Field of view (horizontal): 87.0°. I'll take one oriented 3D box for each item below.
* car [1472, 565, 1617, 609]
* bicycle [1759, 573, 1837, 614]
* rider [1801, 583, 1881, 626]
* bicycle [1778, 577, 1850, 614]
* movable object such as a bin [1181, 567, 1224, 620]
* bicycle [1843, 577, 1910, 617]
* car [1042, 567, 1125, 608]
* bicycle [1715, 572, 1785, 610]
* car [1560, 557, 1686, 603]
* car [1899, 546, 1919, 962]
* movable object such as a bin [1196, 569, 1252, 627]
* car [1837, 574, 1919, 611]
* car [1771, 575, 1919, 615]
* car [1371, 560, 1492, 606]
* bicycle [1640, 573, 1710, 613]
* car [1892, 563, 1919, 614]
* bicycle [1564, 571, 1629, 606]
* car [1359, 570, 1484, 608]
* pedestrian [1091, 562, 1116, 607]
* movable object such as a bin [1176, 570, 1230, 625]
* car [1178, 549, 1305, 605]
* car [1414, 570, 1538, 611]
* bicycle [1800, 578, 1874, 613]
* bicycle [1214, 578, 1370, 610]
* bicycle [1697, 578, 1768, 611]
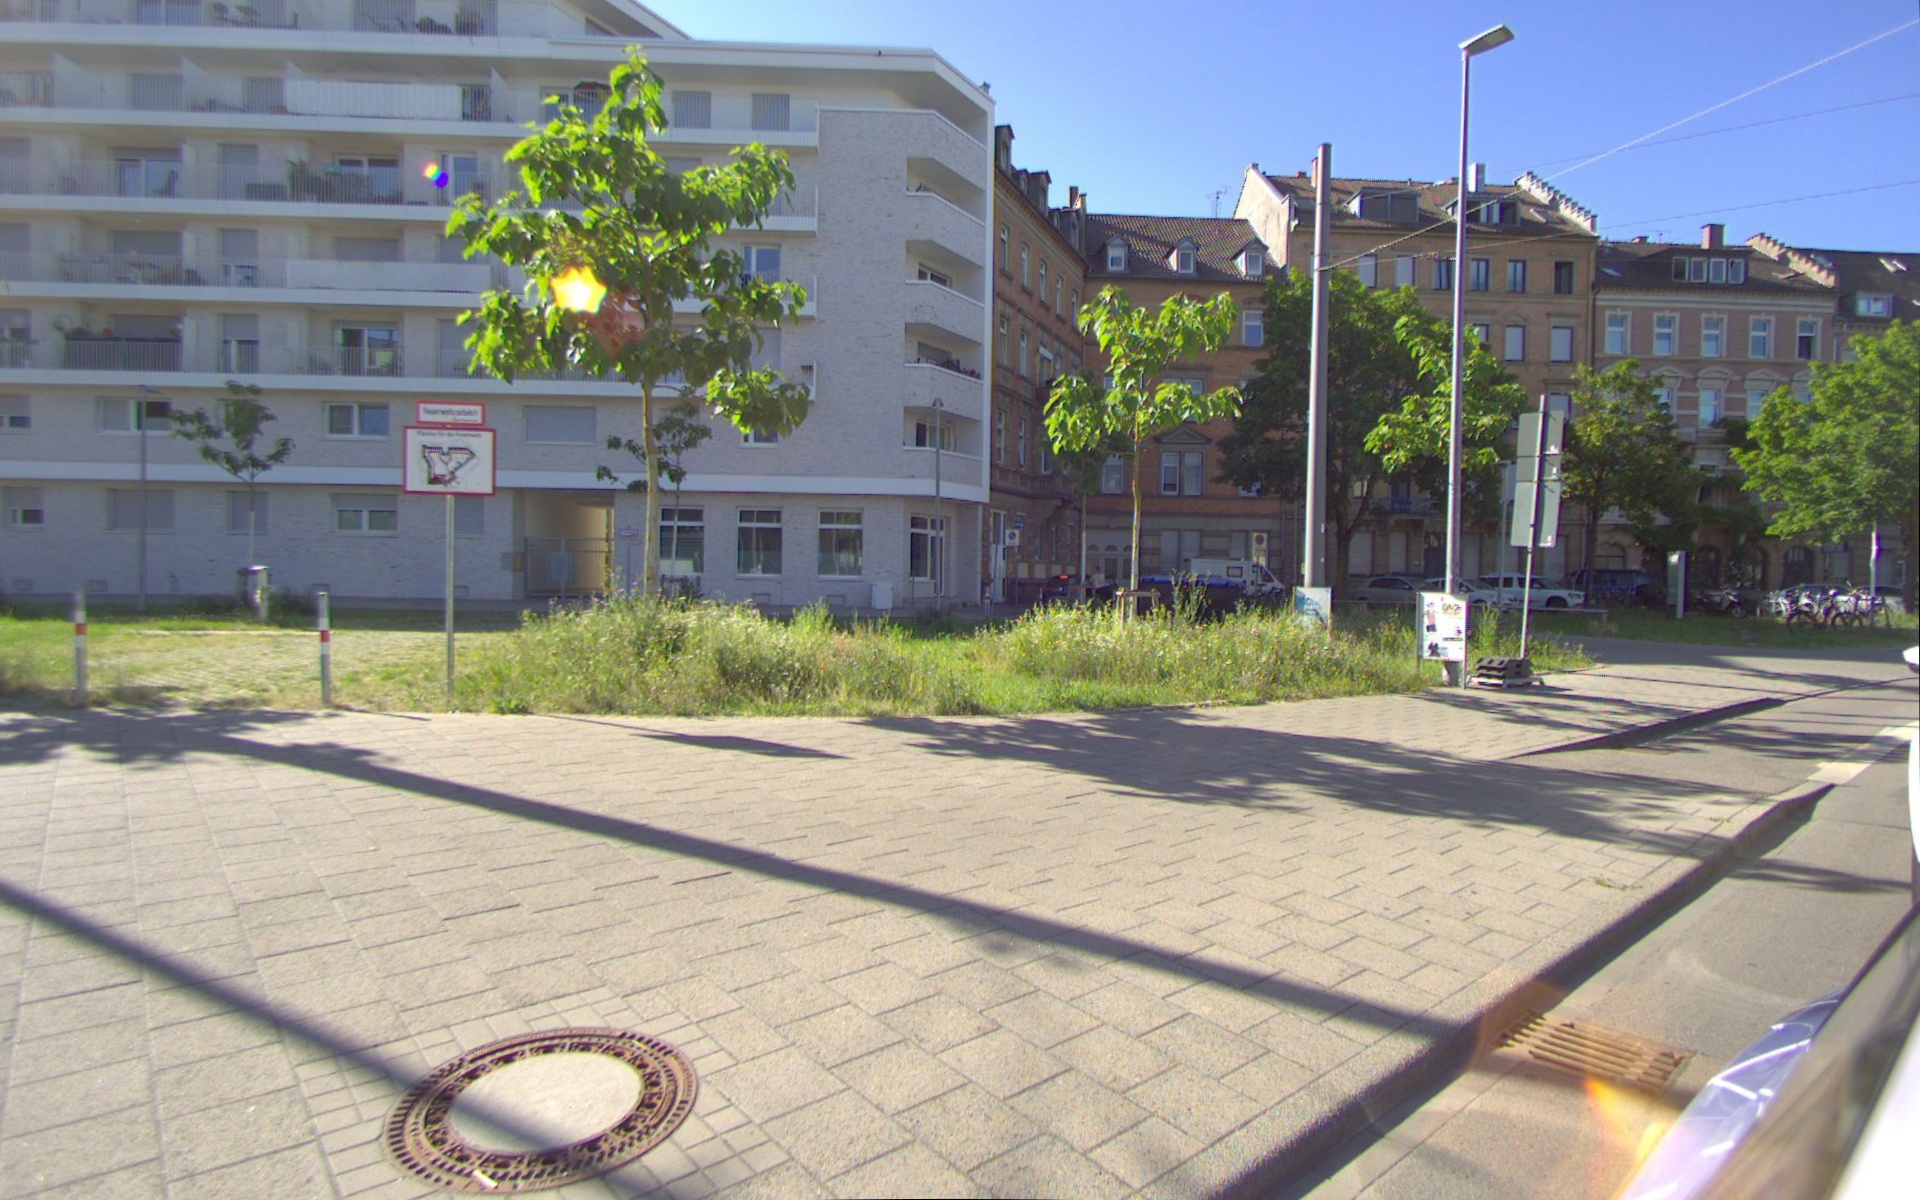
[{"bbox_3d":[22.430,-0.528,39.000,1.900,1.585,4.473,0,2,-33],"label":"car"},{"bbox_3d":[29.227,-0.244,35.343,0.771,1.382,2.103,0,1,-8],"label":"bicycle"},{"bbox_3d":[25.053,0.128,28.808,1.652,1.191,0.501,0,1,15],"label":"rider"},{"bbox_3d":[31.032,-0.178,36.800,0.825,1.206,1.966,1,3,-3],"label":"bicycle"},{"bbox_3d":[6.770,-0.190,28.275,1.076,1.416,1.026,1,1,18],"label":"movable object such as a bin"},{"bbox_3d":[31.514,-0.113,34.820,1.589,1.306,0.760,3,3,38],"label":"bicycle"},{"bbox_3d":[4.713,-0.489,38.074,1.979,1.454,4.074,1,1,24],"label":"car"},{"bbox_3d":[29.452,-0.320,37.770,0.771,1.382,2.103,0,0,-8],"label":"bicycle"},{"bbox_3d":[31.359,-0.950,47.961,4.631,2.001,2.003,1,3,-3],"label":"car"},{"bbox_3d":[5.978,0.606,4.826,4.318,1.656,1.800,-1,2,-42],"label":"car"},{"bbox_3d":[6.740,-0.063,25.797,1.286,1.416,1.066,1,1,18],"label":"movable object such as a bin"},{"bbox_3d":[37.542,-0.297,40.295,1.889,1.397,3.615,0,2,-35],"label":"car"},{"bbox_3d":[34.923,-0.222,39.507,2.007,1.397,4.753,0,2,-35],"label":"car"},{"bbox_3d":[22.073,-0.818,47.522,4.632,2.001,2.002,1,3,-2],"label":"car"},{"bbox_3d":[26.252,-0.269,37.194,0.771,1.416,2.105,0,1,-13],"label":"bicycle"},{"bbox_3d":[40.642,-0.395,40.250,2.062,2.037,4.882,-2,4,-36],"label":"car"},{"bbox_3d":[25.774,-0.483,41.034,0.774,1.382,2.096,0,2,-42],"label":"bicycle"},{"bbox_3d":[17.320,-0.436,38.154,1.802,1.354,4.064,0,2,-26],"label":"car"},{"bbox_3d":[5.193,-0.558,36.585,0.756,1.596,0.643,0,1,-2],"label":"pedestrian"},{"bbox_3d":[6.491,-0.091,27.038,1.303,1.416,1.105,1,1,18],"label":"movable object such as a bin"},{"bbox_3d":[12.974,-1.091,46.849,5.087,2.385,2.359,1,3,-1],"label":"car"},{"bbox_3d":[19.648,-0.400,38.662,1.726,1.459,3.846,0,2,-33],"label":"car"},{"bbox_3d":[31.934,-0.173,36.897,0.882,1.195,1.953,0,3,-3],"label":"bicycle"},{"bbox_3d":[12.907,-0.249,39.578,5.116,1.141,2.687,1,1,-7],"label":"bicycle"},{"bbox_3d":[28.578,-0.215,37.487,0.806,1.173,2.172,1,1,-6],"label":"bicycle"}]
